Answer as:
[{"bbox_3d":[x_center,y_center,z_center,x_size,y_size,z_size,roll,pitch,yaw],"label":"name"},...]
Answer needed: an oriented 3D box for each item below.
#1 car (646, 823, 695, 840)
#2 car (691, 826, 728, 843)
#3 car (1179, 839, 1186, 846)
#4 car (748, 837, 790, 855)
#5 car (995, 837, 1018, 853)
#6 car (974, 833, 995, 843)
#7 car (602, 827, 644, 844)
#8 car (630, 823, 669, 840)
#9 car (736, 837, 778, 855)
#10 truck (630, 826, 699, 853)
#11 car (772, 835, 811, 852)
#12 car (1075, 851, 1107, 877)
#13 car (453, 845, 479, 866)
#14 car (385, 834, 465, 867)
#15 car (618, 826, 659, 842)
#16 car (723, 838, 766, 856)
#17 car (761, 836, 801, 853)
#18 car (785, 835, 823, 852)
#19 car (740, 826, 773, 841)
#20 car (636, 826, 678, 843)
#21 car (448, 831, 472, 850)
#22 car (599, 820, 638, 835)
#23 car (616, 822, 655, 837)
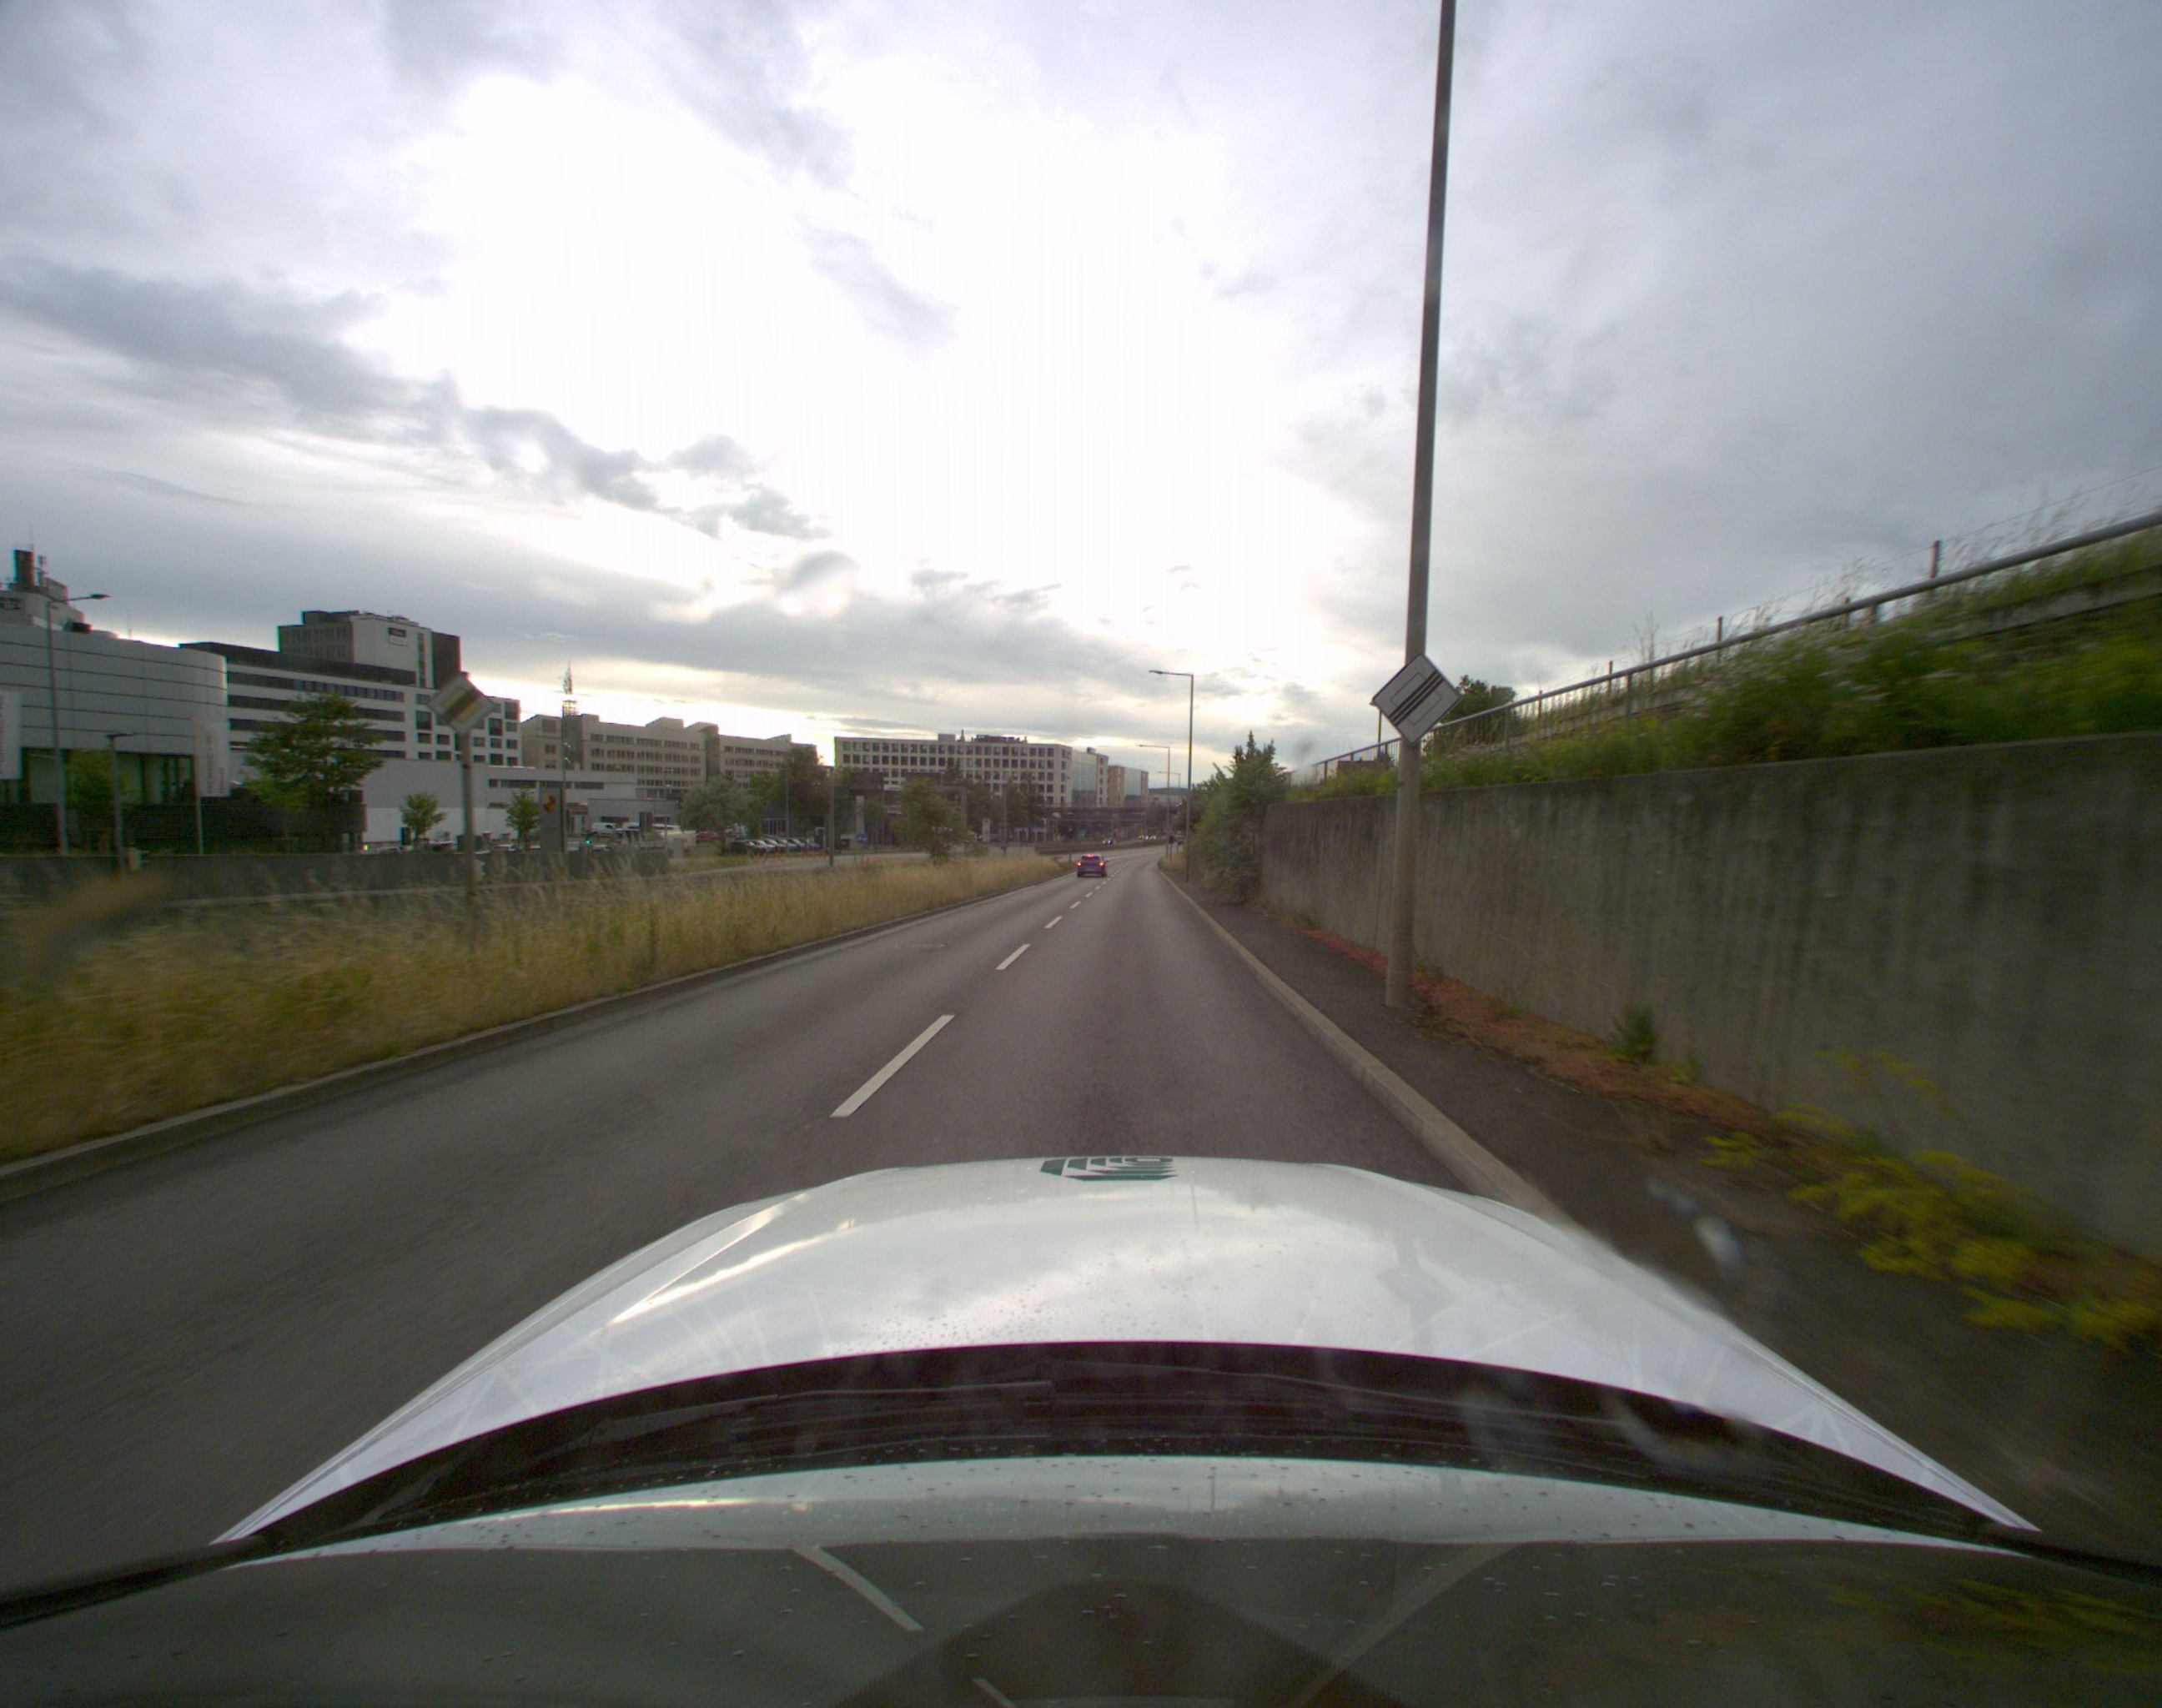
[{"bbox_3d":[-50.777,-2.765,100.840,1.978,1.881,5.562,4,3,17],"label":"car"},{"bbox_3d":[-45.406,-2.398,99.587,1.887,1.880,4.020,4,5,17],"label":"car"},{"bbox_3d":[28.747,-3.219,230.831,1.852,1.749,4.011,4,4,8],"label":"car"},{"bbox_3d":[-35.764,-0.979,93.380,3.961,1.683,1.931,4,4,12],"label":"car"},{"bbox_3d":[-8.377,-1.034,91.565,1.677,1.589,3.560,4,5,10],"label":"car"},{"bbox_3d":[-20.268,-3.355,170.195,3.998,1.650,1.989,3,2,-18],"label":"car"},{"bbox_3d":[-53.172,-2.209,94.640,1.902,1.683,4.019,4,5,17],"label":"car"},{"bbox_3d":[-53.317,-2.812,100.672,1.978,1.880,4.020,4,5,17],"label":"car"},{"bbox_3d":[-36.252,-0.910,91.218,3.961,1.683,1.931,4,4,12],"label":"car"},{"bbox_3d":[-45.906,-1.677,89.993,2.349,2.526,7.442,4,5,14],"label":"truck"},{"bbox_3d":[-34.828,-1.318,98.141,3.961,1.683,1.931,4,4,12],"label":"car"},{"bbox_3d":[0.676,0.600,51.991,1.740,1.419,3.484,-2,2,5],"label":"car"},{"bbox_3d":[-60.846,0.108,80.589,2.009,1.683,3.958,0,6,-37],"label":"car"},{"bbox_3d":[-59.024,-0.327,73.358,5.119,2.488,2.535,3,4,1],"label":"car"},{"bbox_3d":[-51.085,-2.336,94.070,1.902,1.683,4.019,4,5,17],"label":"car"},{"bbox_3d":[-36.748,-0.751,88.969,3.974,1.599,1.706,4,4,12],"label":"car"},{"bbox_3d":[-35.262,-1.151,95.754,3.961,1.683,1.931,4,4,12],"label":"car"},{"bbox_3d":[-34.152,-1.313,100.408,3.961,1.683,1.931,4,4,12],"label":"car"},{"bbox_3d":[-43.801,-2.721,110.046,3.998,1.781,1.913,2,5,-19],"label":"car"},{"bbox_3d":[-48.419,-2.233,93.031,1.902,1.683,4.019,4,5,17],"label":"car"},{"bbox_3d":[-65.550,-1.421,86.039,2.009,1.705,3.958,0,6,-37],"label":"car"},{"bbox_3d":[-58.462,-3.405,103.009,1.902,1.683,4.019,4,5,17],"label":"car"},{"bbox_3d":[-55.651,-3.087,101.748,1.902,1.683,4.019,4,5,17],"label":"car"}]
